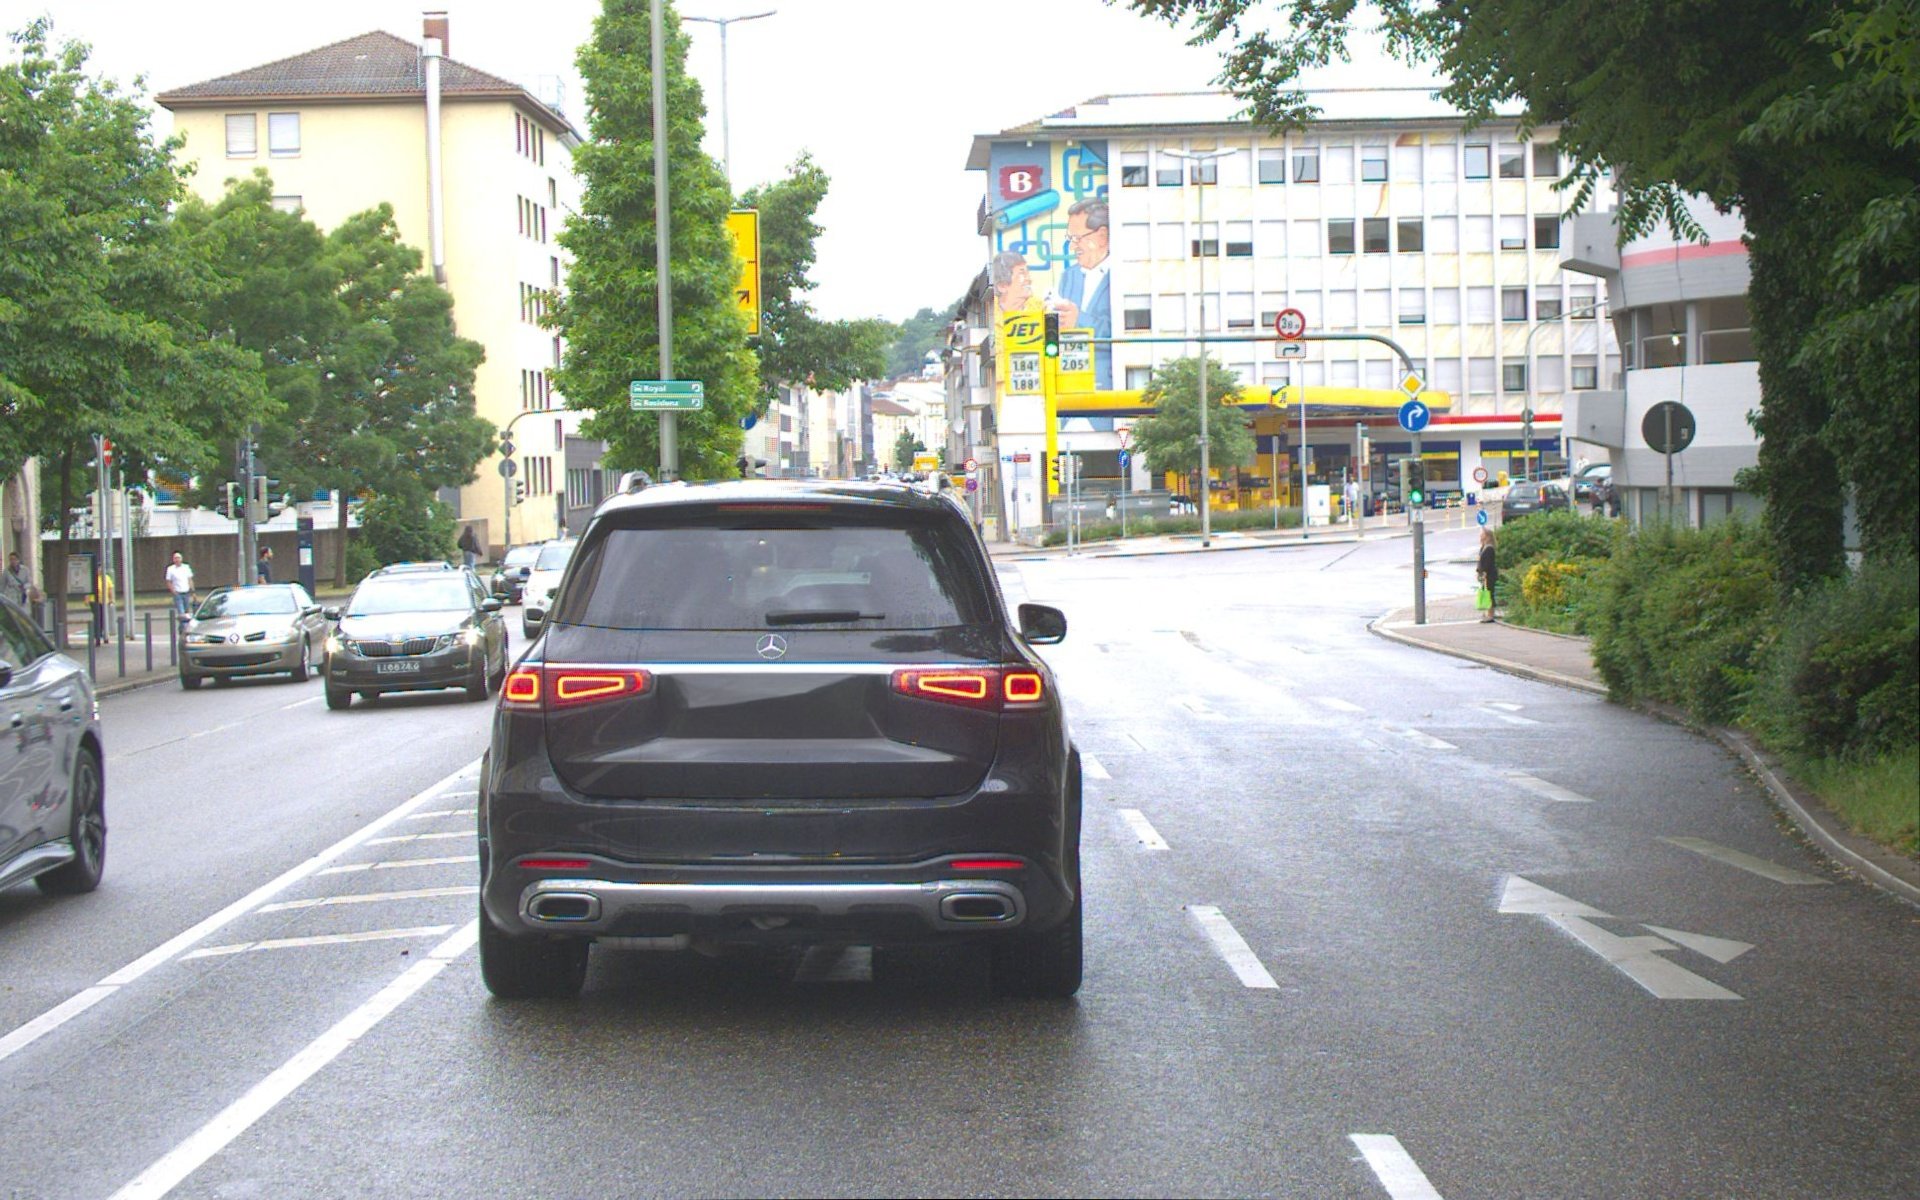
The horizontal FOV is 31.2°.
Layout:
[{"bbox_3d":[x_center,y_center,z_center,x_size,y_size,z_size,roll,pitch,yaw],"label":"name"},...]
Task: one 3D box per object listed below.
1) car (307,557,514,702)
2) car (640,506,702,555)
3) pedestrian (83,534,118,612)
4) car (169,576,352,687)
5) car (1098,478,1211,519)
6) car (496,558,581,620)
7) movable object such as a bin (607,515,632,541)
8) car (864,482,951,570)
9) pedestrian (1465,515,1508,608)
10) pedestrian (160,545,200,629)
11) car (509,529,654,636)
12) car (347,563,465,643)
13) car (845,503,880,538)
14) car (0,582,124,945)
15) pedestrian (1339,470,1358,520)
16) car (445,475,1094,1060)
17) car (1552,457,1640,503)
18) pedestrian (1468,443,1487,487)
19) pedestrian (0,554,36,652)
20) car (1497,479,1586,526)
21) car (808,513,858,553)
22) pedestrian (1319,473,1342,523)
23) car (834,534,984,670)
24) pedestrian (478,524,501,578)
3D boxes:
[{"bbox_3d":[-6.182,0.307,39.082,1.811,1.457,4.289,-3,1,-3],"label":"car"},{"bbox_3d":[-10.221,-2.457,121.790,1.888,1.581,4.537,-3,1,-2],"label":"car"},{"bbox_3d":[-17.248,-0.543,69.006,0.439,1.528,0.545,-1,2,14],"label":"pedestrian"},{"bbox_3d":[-9.861,0.411,48.762,1.829,1.383,4.230,-3,1,-2],"label":"car"},{"bbox_3d":[7.160,-3.726,126.640,1.732,1.371,3.998,-3,2,-44],"label":"car"},{"bbox_3d":[-10.370,-0.295,84.771,1.732,1.389,4.200,-3,1,-3],"label":"car"},{"bbox_3d":[-13.784,-2.917,139.227,0.910,1.034,0.844,1,0,1],"label":"movable object such as a bin"},{"bbox_3d":[-1.248,-1.730,81.782,1.993,2.007,4.000,1,0,-1],"label":"car"},{"bbox_3d":[9.720,-0.714,63.453,0.646,1.704,0.470,0,0,36],"label":"pedestrian"},{"bbox_3d":[-15.643,-0.267,68.962,0.689,1.650,0.613,-2,2,-7],"label":"pedestrian"},{"bbox_3d":[-6.975,-0.359,63.783,1.891,1.805,4.574,-3,1,3],"label":"car"},{"bbox_3d":[-10.774,0.041,67.035,1.745,1.407,3.971,-3,1,-2],"label":"car"},{"bbox_3d":[-5.907,-4.846,209.229,1.993,2.007,4.000,1,0,0],"label":"car"},{"bbox_3d":[-4.975,0.721,14.614,1.883,1.493,4.562,-2,1,-3],"label":"car"},{"bbox_3d":[13.368,-3.600,118.205,0.572,1.692,0.631,1,0,1],"label":"pedestrian"},{"bbox_3d":[-0.612,0.515,12.681,1.993,1.794,4.000,1,0,-1],"label":"car"},{"bbox_3d":[25.287,-4.769,136.590,1.997,1.700,3.993,-1,2,33],"label":"car"},{"bbox_3d":[20.261,-5.274,134.531,0.526,1.721,0.688,0,2,27],"label":"pedestrian"},{"bbox_3d":[-16.286,0.042,59.020,0.642,1.660,1.019,1,0,-6],"label":"pedestrian"},{"bbox_3d":[19.708,-3.292,116.330,1.799,1.520,4.050,1,2,27],"label":"car"},{"bbox_3d":[-5.359,-2.805,144.855,1.993,1.609,4.190,1,0,-3],"label":"car"},{"bbox_3d":[12.815,-3.521,118.895,0.527,1.721,0.688,0,2,29],"label":"pedestrian"},{"bbox_3d":[-0.703,0.015,47.975,1.993,1.794,4.000,1,0,-1],"label":"car"},{"bbox_3d":[-15.346,-1.601,112.077,0.648,1.721,0.629,-2,1,-4],"label":"pedestrian"}]
